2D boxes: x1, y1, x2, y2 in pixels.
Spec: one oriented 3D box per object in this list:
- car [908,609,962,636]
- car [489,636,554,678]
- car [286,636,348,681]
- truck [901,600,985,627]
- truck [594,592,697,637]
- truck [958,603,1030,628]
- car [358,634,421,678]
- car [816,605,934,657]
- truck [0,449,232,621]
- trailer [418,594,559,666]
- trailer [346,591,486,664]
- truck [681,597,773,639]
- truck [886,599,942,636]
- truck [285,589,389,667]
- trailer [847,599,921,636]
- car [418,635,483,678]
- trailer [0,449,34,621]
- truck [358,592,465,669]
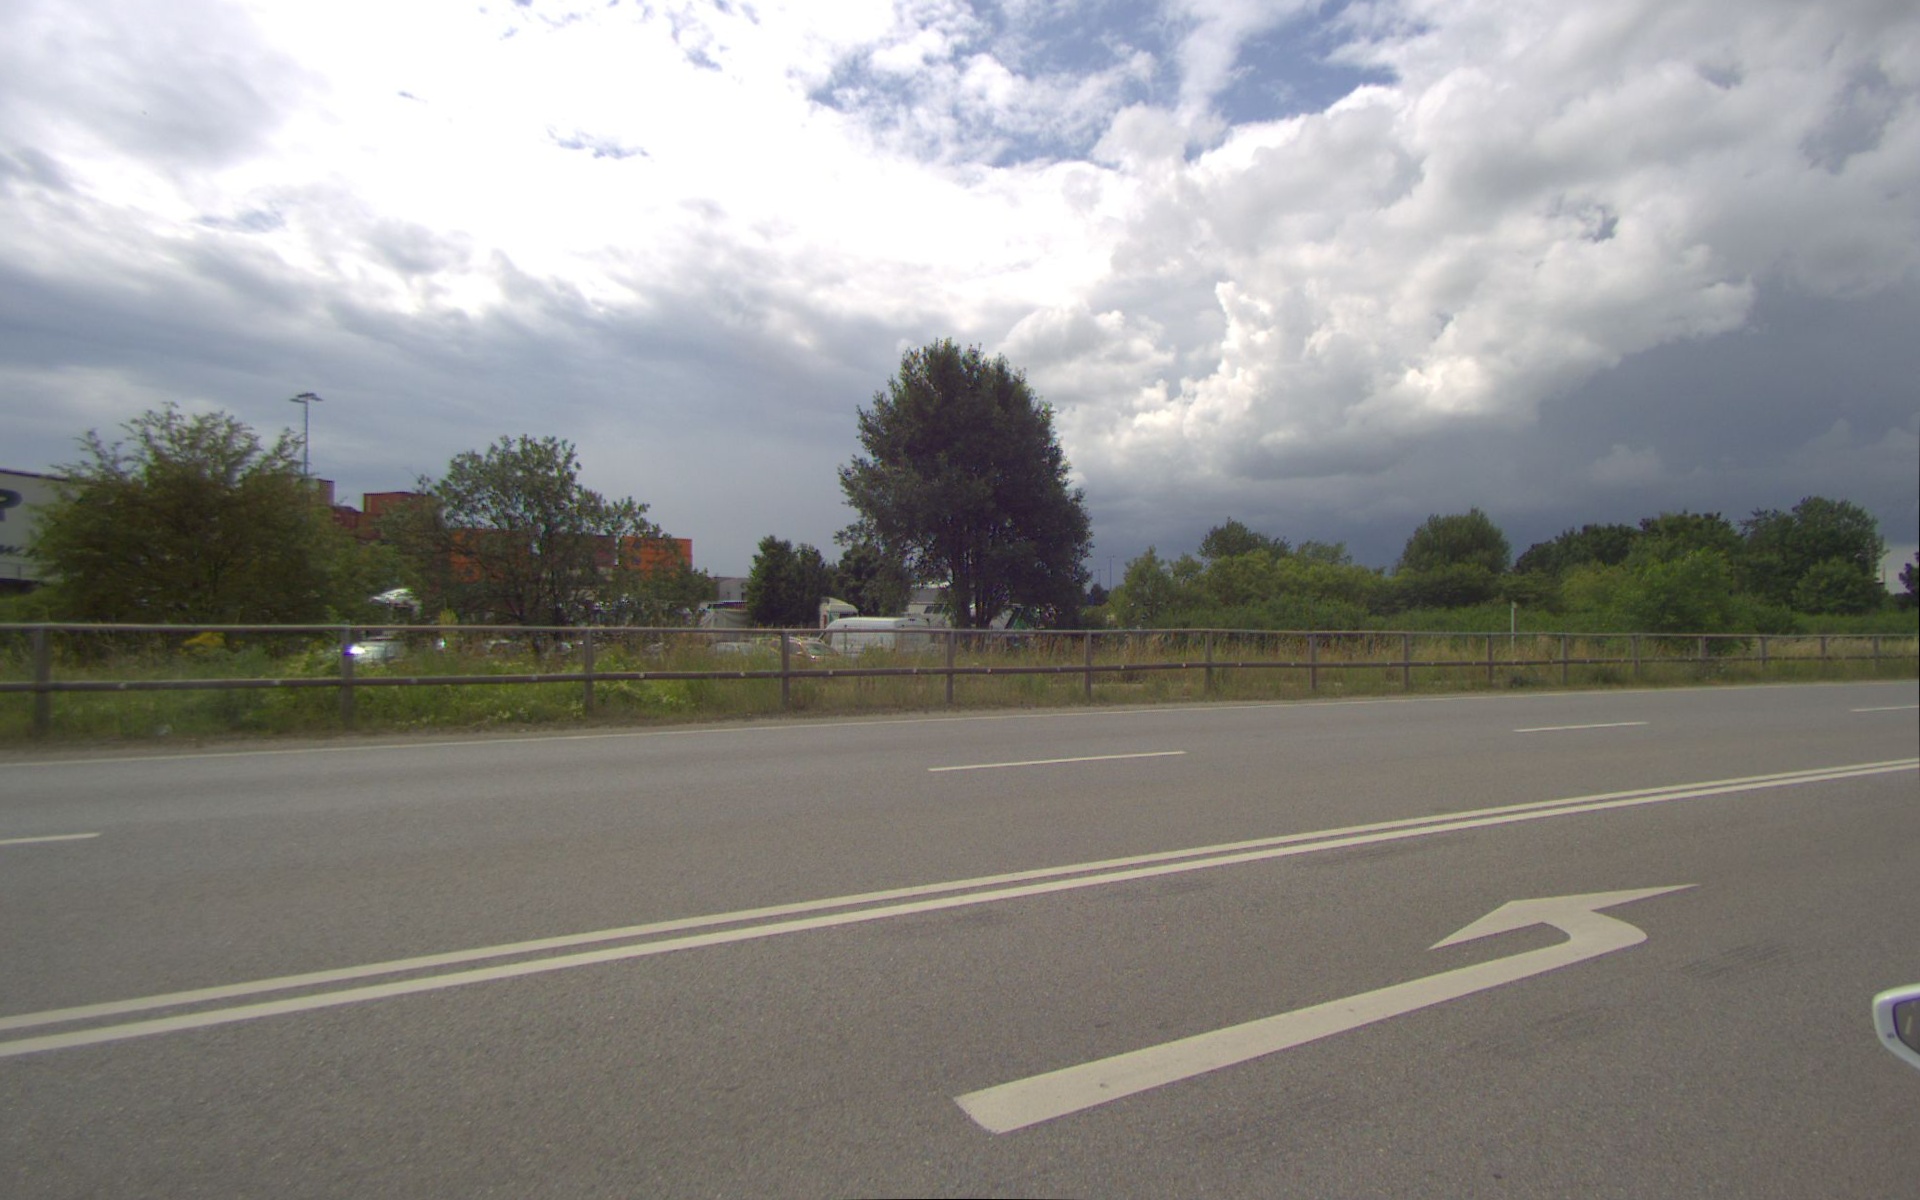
[{"bbox_3d":[-2.082,1.876,83.462,3.954,2.040,1.984,2,-1,-31],"label":"car"},{"bbox_3d":[-20.850,2.670,47.709,1.829,1.742,3.954,1,0,-39],"label":"car"},{"bbox_3d":[-28.468,2.533,44.419,1.829,1.742,3.954,1,0,-39],"label":"car"},{"bbox_3d":[-1.476,1.186,87.664,7.028,2.040,1.990,2,-1,-21],"label":"truck"},{"bbox_3d":[-20.424,0.940,65.614,2.603,2.718,6.648,1,-1,26],"label":"truck"},{"bbox_3d":[3.042,1.354,89.424,6.139,2.040,1.990,2,0,-21],"label":"truck"},{"bbox_3d":[-25.811,2.479,45.387,1.829,1.742,3.954,1,0,-39],"label":"car"},{"bbox_3d":[-3.327,1.151,38.677,4.520,1.758,1.988,2,1,43],"label":"car"},{"bbox_3d":[-27.753,-1.896,32.528,2.759,5.063,6.167,1,0,37],"label":"truck"},{"bbox_3d":[-30.348,1.863,65.258,2.155,4.350,9.377,1,-1,21],"label":"trailer"},{"bbox_3d":[-34.609,1.713,64.359,2.155,4.350,8.499,1,-1,21],"label":"trailer"},{"bbox_3d":[-15.681,1.208,68.087,2.602,2.718,6.651,1,-1,24],"label":"truck"},{"bbox_3d":[-3.442,1.303,75.045,3.686,2.713,1.985,1,0,-29],"label":"truck"},{"bbox_3d":[-36.560,1.607,59.104,2.155,4.350,4.854,1,0,21],"label":"truck"},{"bbox_3d":[-5.579,1.295,73.822,5.008,2.695,1.985,1,0,-29],"label":"trailer"},{"bbox_3d":[-23.513,2.564,46.292,1.829,1.742,3.954,1,0,-39],"label":"car"},{"bbox_3d":[-31.589,-2.003,27.385,2.762,5.063,8.951,1,0,37],"label":"trailer"},{"bbox_3d":[-32.449,1.749,59.644,2.155,4.350,5.430,1,-1,21],"label":"truck"}]
